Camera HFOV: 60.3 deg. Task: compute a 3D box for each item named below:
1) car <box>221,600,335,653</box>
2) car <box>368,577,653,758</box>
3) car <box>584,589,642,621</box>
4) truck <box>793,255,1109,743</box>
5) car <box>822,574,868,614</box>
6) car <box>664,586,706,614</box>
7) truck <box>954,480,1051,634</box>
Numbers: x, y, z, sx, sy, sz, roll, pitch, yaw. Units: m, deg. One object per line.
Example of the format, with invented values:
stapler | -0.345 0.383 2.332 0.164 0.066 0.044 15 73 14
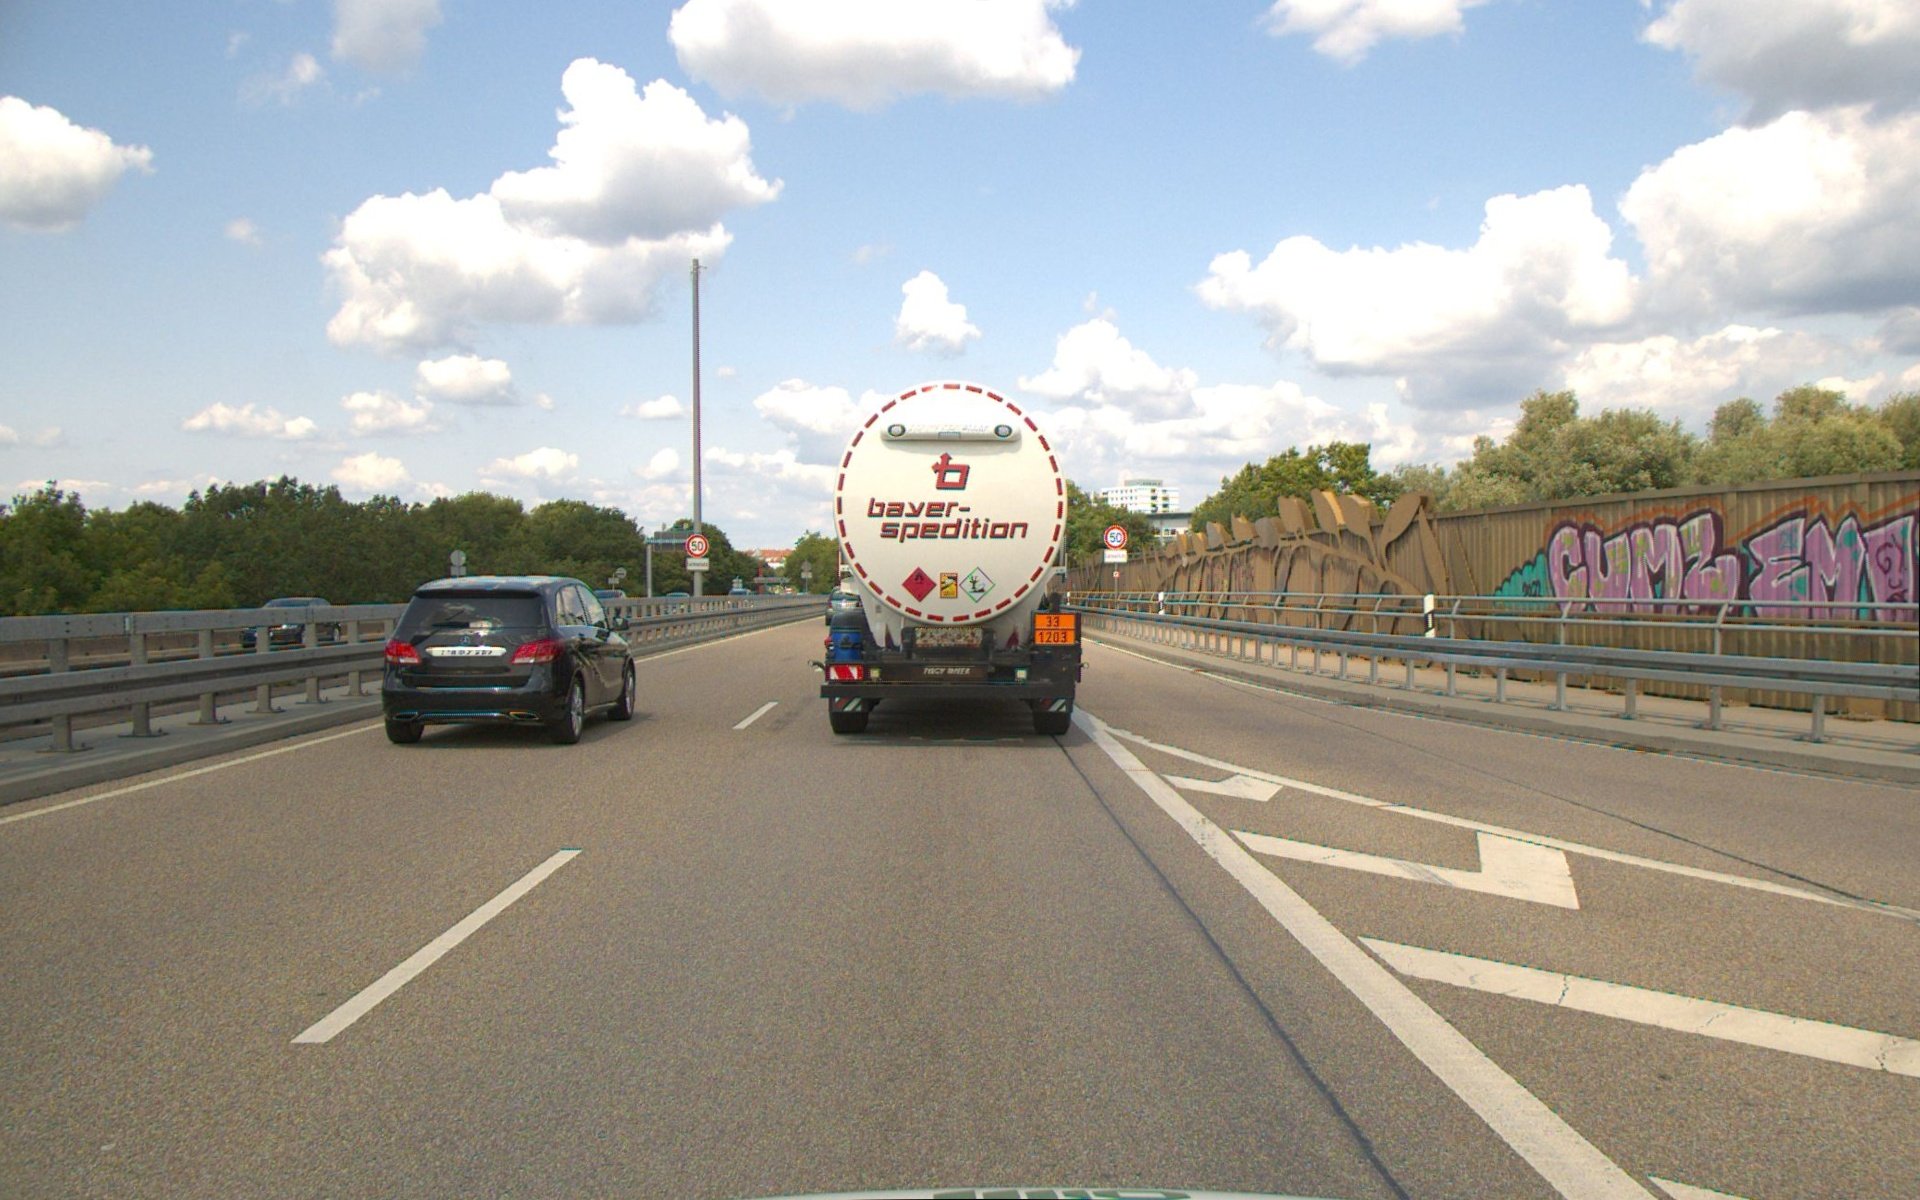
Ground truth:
car | -19.524 0.725 47.516 1.644 1.426 3.999 0 0 -1
car | -4.349 0.564 16.737 1.677 1.554 4.592 1 1 -1
car | -16.700 0.227 79.728 1.873 1.489 4.518 0 1 -1
truck | -0.198 -0.963 19.260 2.837 4.445 8.027 1 0 -2
car | -4.681 -0.277 67.733 1.712 1.558 3.999 0 1 -2
car | -16.628 -0.030 100.096 1.953 1.601 3.999 1 1 -2
truck | 1.356 -1.418 57.166 2.837 4.891 8.027 1 0 -2
